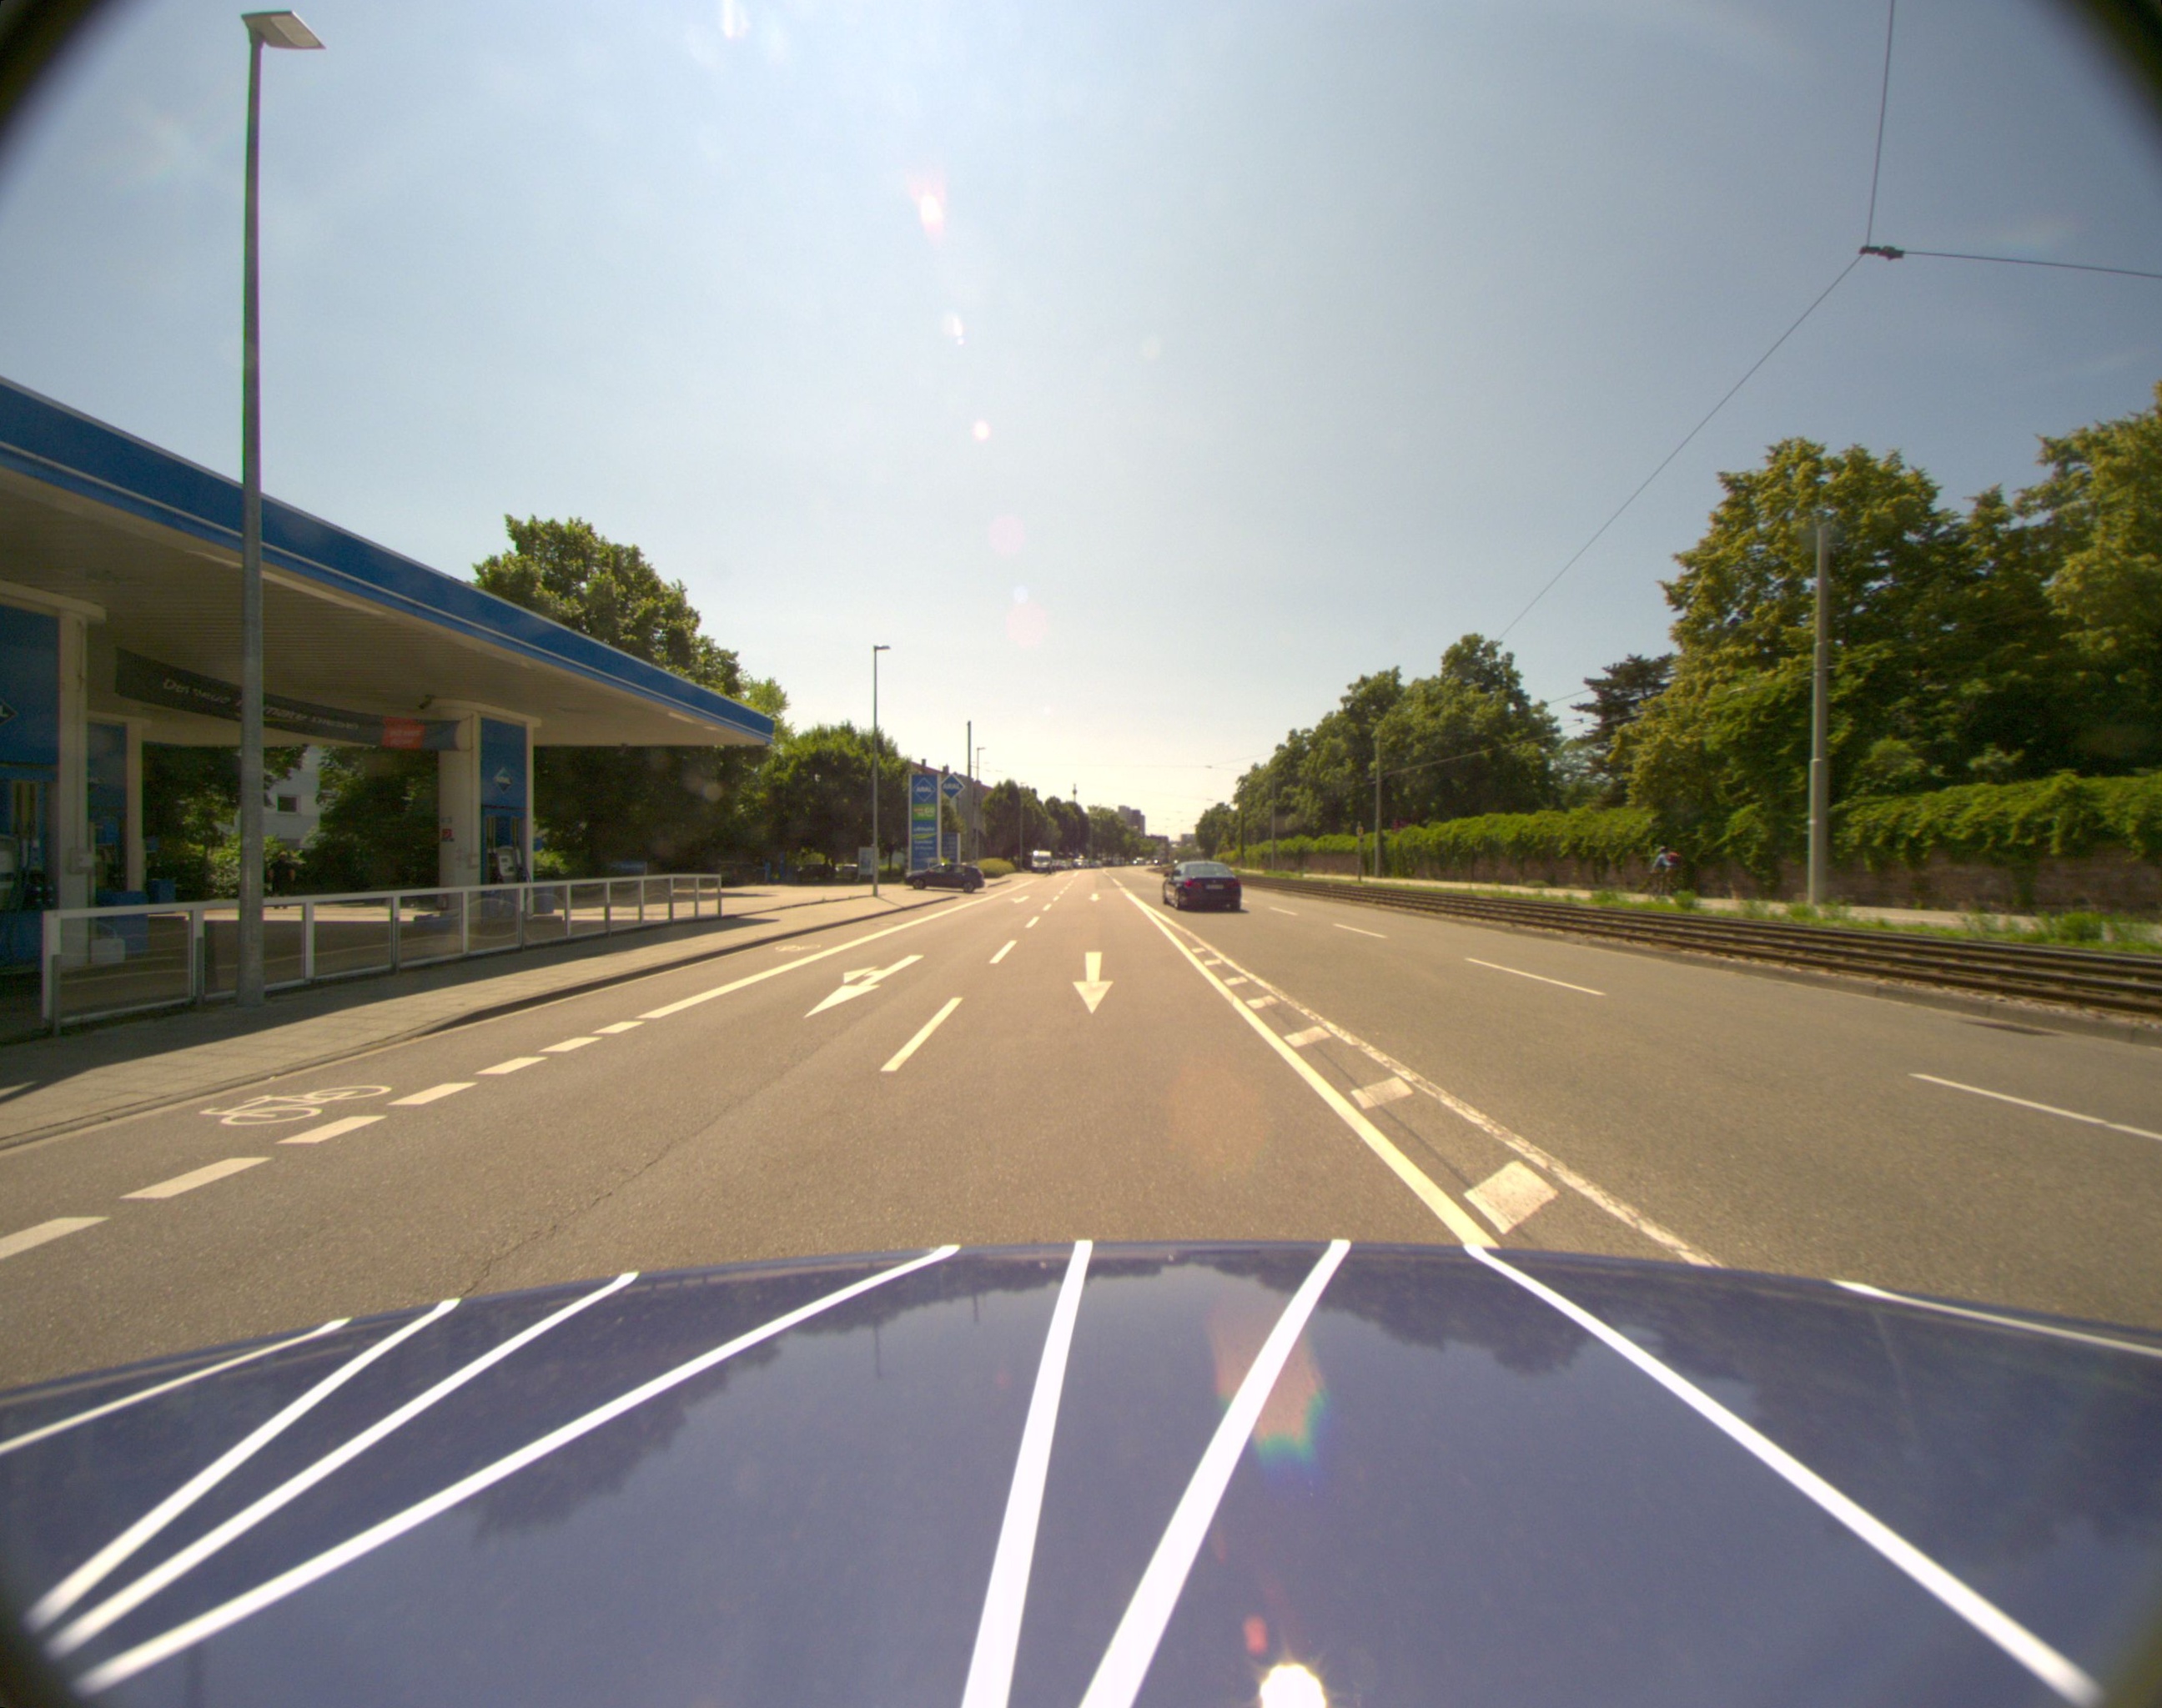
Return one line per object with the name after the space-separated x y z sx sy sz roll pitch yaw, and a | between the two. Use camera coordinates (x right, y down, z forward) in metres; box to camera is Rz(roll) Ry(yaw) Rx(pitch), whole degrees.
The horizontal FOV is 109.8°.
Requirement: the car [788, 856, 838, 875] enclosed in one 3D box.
-25.218 1.073 71.641 3.992 1.677 2.002 0 0 16 | car

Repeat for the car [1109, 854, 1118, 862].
7.846 0.949 184.095 1.998 1.718 4.000 0 0 1 | car

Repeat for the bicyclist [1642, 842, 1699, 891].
18.069 0.377 23.325 0.997 1.477 1.000 0 0 4 | bicyclist

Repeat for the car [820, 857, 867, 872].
-24.728 1.056 79.185 4.220 1.512 2.001 0 0 9 | car

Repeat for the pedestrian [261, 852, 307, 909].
-26.690 0.873 25.452 0.626 1.877 0.837 0 0 1 | pedestrian

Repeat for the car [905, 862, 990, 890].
-6.971 1.153 39.931 4.139 1.413 1.719 0 0 0 | car

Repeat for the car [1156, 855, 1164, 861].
20.061 0.947 193.390 1.695 1.460 4.003 0 0 10 | car

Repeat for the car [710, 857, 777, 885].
-21.689 1.072 49.093 1.998 1.653 4.411 0 1 6 | car

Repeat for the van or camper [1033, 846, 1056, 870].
-4.050 0.459 84.760 2.126 2.469 5.993 2 0 0 | van or camper

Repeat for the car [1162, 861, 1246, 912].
3.688 0.922 23.512 1.798 1.391 4.447 0 0 -1 | car

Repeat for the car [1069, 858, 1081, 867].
-1.069 1.512 133.387 1.725 1.586 4.001 0 0 3 | car

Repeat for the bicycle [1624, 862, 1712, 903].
18.077 0.841 23.503 0.830 1.149 2.686 0 0 4 | bicycle

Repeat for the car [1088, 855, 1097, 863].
2.262 1.070 153.372 1.806 1.585 4.000 0 0 1 | car
